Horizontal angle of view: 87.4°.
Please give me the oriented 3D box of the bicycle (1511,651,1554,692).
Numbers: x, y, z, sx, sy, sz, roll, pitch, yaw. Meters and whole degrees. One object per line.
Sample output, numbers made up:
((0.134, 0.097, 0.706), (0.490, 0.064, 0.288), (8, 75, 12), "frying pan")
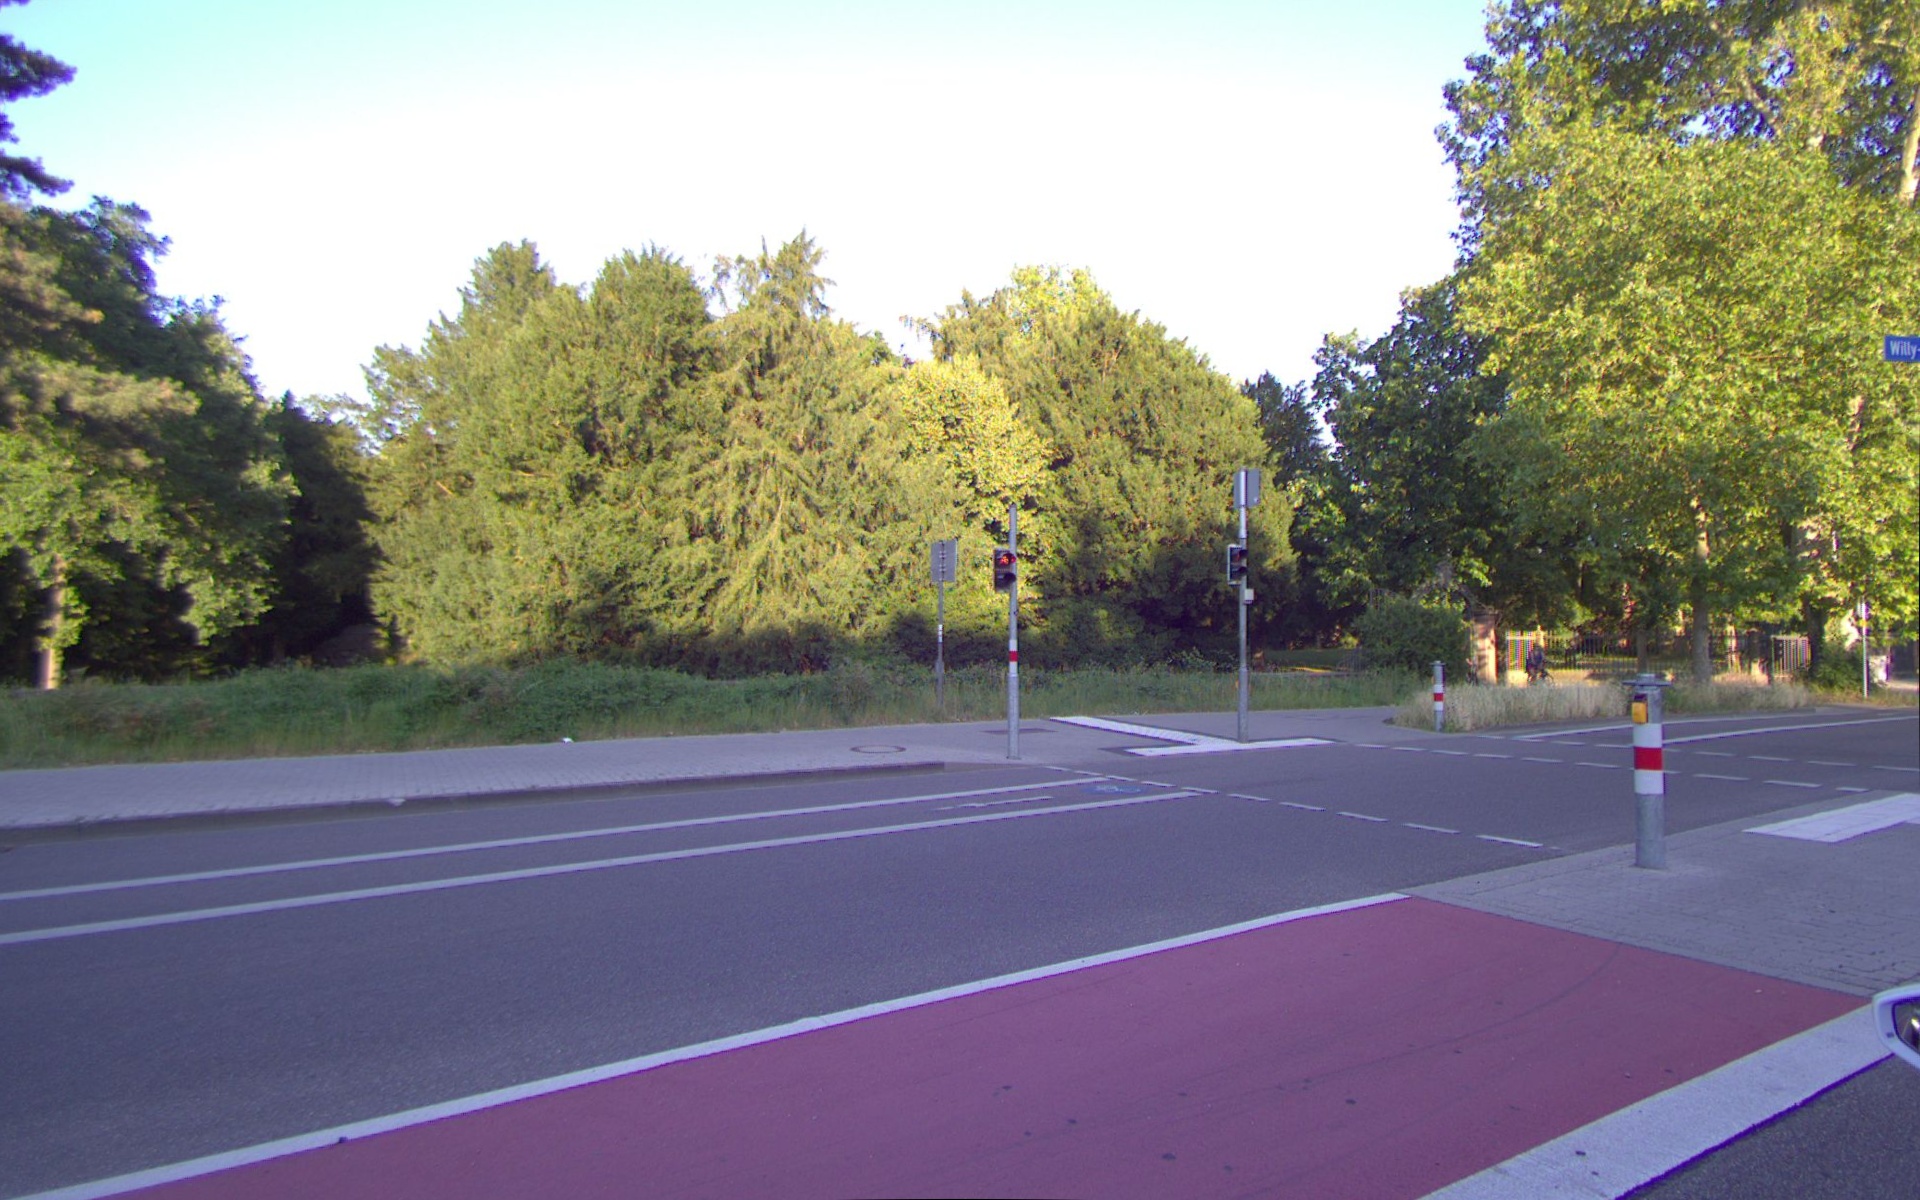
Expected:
((18.853, 2.329, 33.121), (0.776, 1.273, 1.981), (0, -2, 17), "bicycle")

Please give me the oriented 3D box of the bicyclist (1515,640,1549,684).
((18.880, 2.030, 33.159), (0.776, 1.445, 0.892), (0, -2, 17), "bicyclist")
